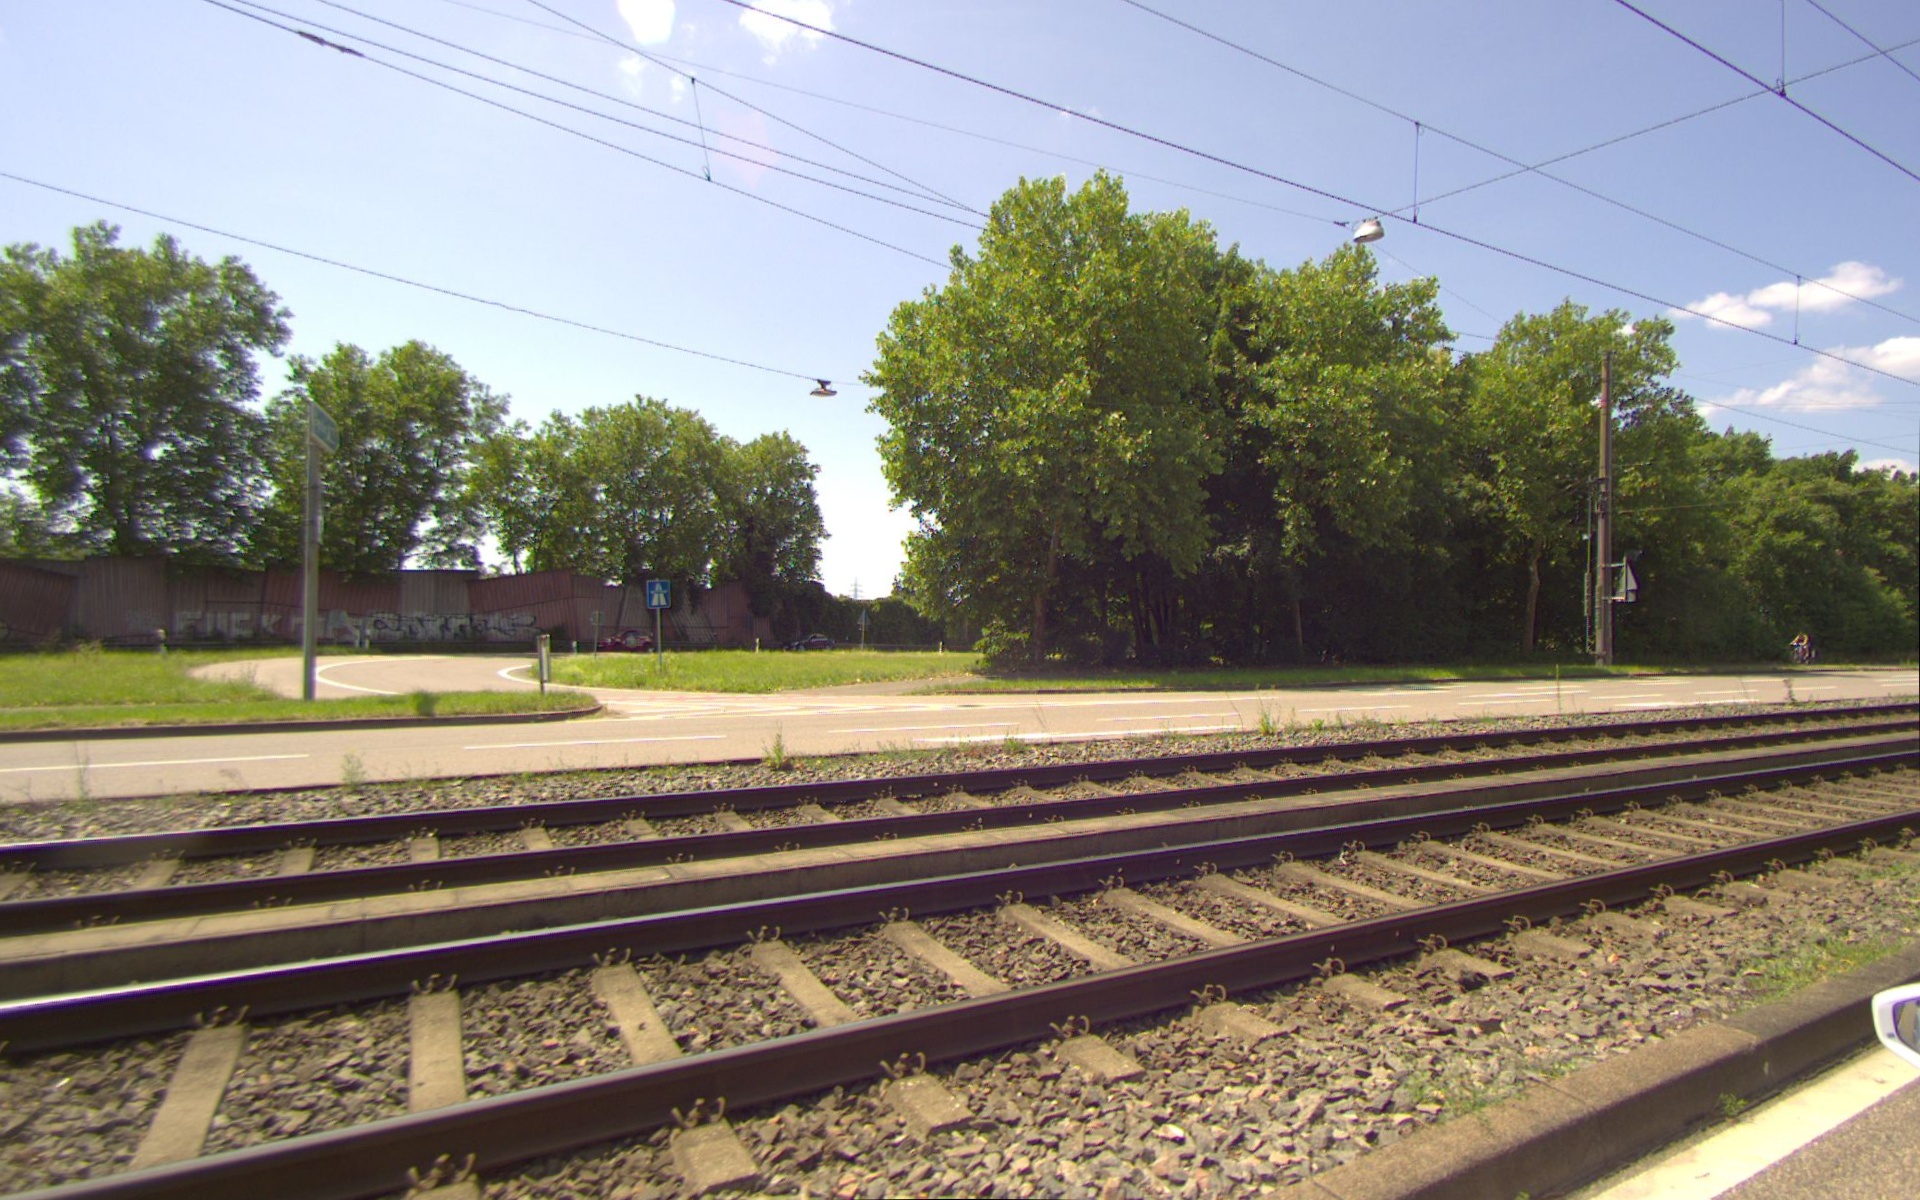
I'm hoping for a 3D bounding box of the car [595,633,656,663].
[{"bbox_3d":[-20.840,2.968,62.680,1.539,1.815,3.388,0,-2,35],"label":"car"}]

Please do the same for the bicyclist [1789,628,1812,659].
[{"bbox_3d":[38.990,2.018,46.587,0.623,1.386,0.566,2,0,-27],"label":"bicyclist"}]

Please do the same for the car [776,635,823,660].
[{"bbox_3d":[-12.028,3.541,75.324,1.539,1.815,3.388,0,-2,35],"label":"car"}]

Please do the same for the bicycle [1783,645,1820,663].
[{"bbox_3d":[39.055,2.511,46.607,2.042,0.829,0.584,2,-2,-27],"label":"bicycle"}]
